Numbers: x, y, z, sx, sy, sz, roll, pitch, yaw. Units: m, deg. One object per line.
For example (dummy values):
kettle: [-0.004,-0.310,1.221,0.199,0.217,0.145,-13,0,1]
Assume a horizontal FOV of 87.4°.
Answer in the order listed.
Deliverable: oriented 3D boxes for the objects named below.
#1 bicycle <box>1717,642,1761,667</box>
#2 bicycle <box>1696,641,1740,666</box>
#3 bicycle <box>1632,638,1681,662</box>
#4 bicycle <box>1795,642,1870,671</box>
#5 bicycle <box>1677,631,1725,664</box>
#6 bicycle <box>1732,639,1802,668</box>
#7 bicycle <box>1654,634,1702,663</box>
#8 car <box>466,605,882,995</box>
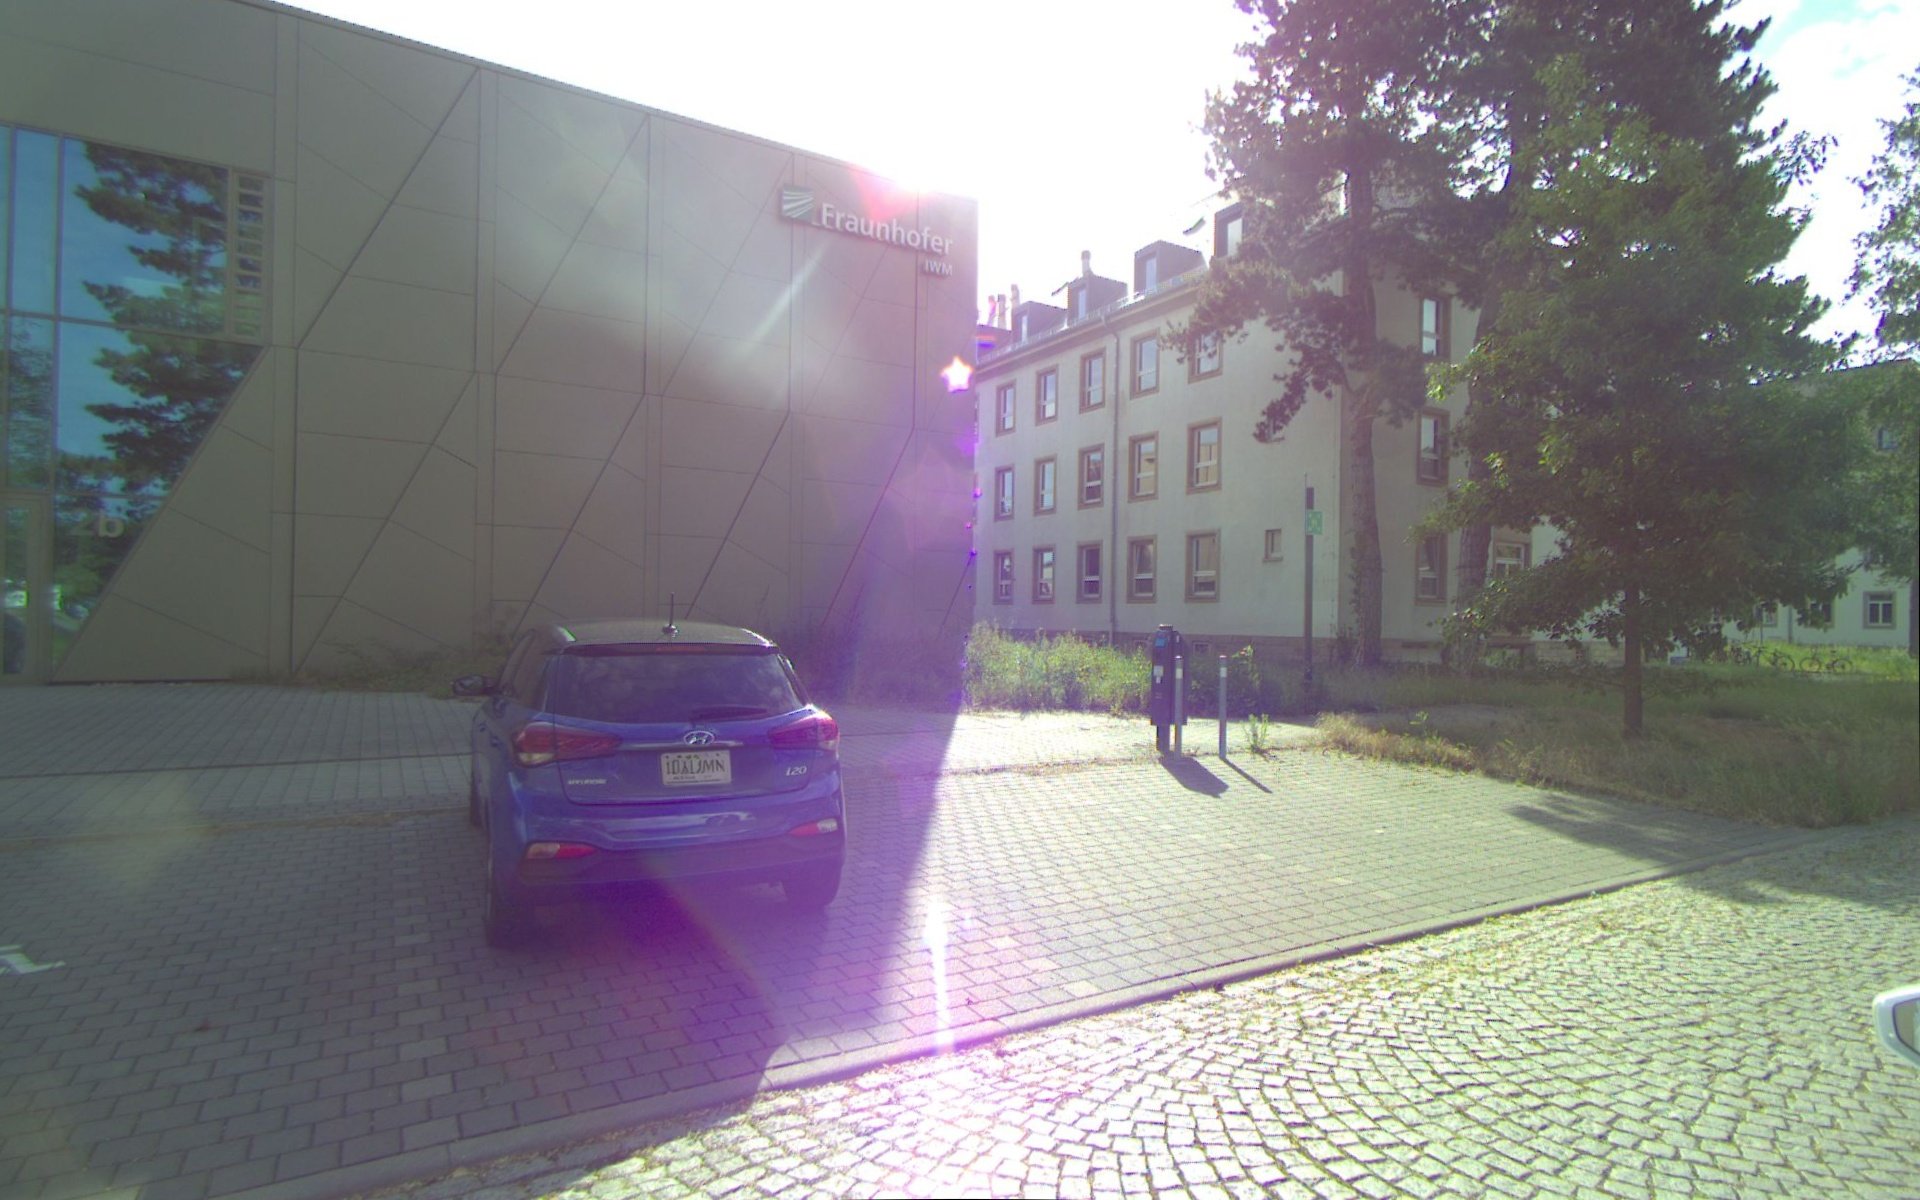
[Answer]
bicycle: [33.482,2.330,43.166,2.100,1.061,0.822,2,-1,-31]
bicycle: [33.058,2.317,43.820,2.100,1.061,0.822,2,-1,-31]
bicycle: [31.870,2.283,45.974,2.524,1.061,0.896,2,-1,-31]
bicycle: [34.281,2.216,39.478,0.820,1.061,2.104,2,-1,-33]
bicycle: [32.958,2.104,44.682,2.524,1.456,0.822,2,-1,-31]
bicycle: [33.148,2.185,41.267,0.820,1.123,2.104,2,-1,-33]
bicycle: [32.319,2.178,45.195,2.524,1.298,0.822,2,-1,-31]
car: [-2.021,0.841,6.152,1.698,1.483,3.820,2,0,-27]
